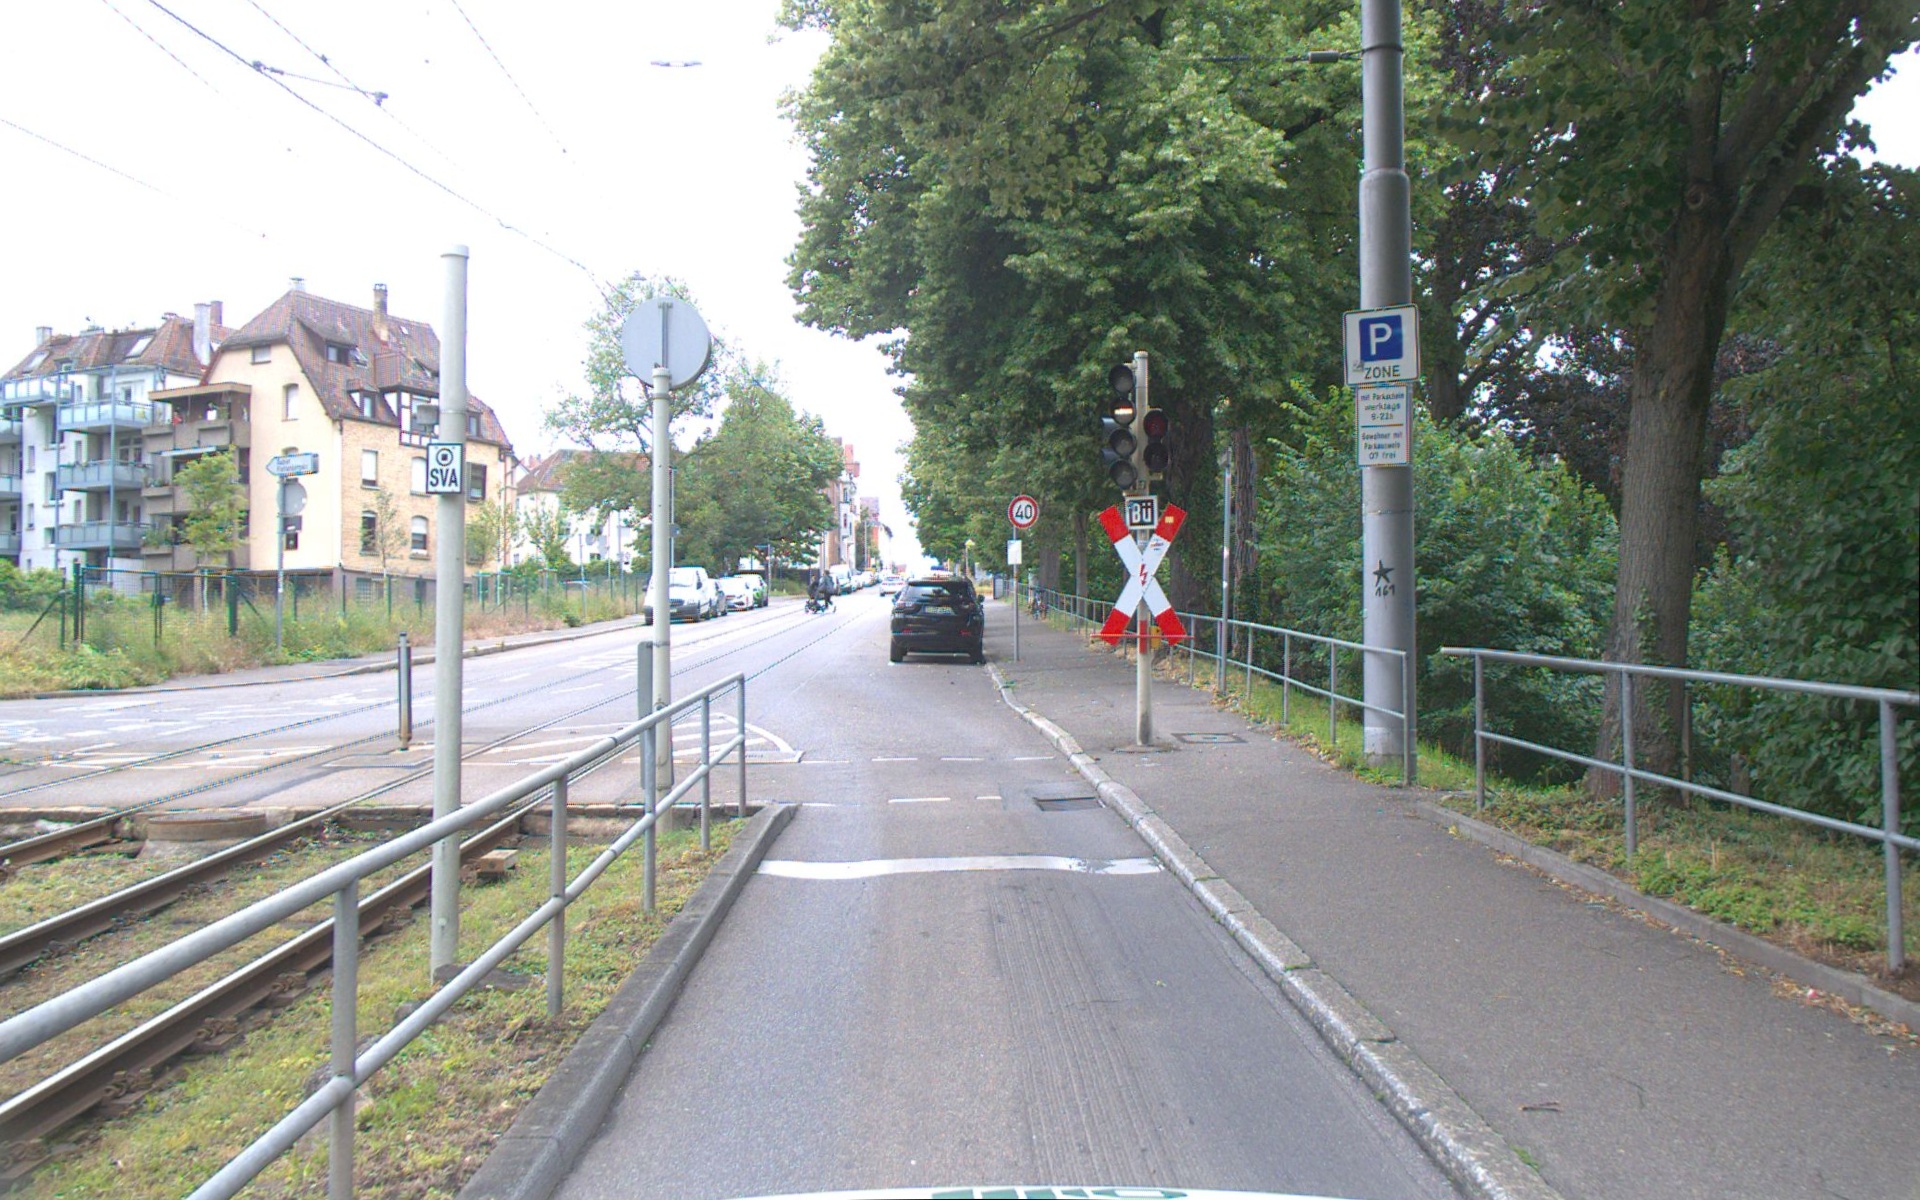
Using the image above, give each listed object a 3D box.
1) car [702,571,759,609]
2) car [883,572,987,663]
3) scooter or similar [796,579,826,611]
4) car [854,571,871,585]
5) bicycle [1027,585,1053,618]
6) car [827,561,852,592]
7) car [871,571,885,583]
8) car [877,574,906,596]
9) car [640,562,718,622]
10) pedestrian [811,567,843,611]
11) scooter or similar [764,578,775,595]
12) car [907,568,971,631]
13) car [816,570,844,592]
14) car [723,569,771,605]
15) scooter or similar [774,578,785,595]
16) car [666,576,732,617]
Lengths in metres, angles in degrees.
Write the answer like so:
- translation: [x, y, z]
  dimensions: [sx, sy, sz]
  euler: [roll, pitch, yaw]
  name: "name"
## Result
- translation: [-10.007, -0.436, 72.371]
  dimensions: [1.846, 1.552, 4.663]
  euler: [-2, 1, -1]
  name: "car"
- translation: [-0.430, 0.279, 32.501]
  dimensions: [1.865, 1.643, 4.600]
  euler: [1, 1, 0]
  name: "car"
- translation: [-5.740, -0.181, 63.757]
  dimensions: [0.822, 1.217, 0.804]
  euler: [0, 0, 36]
  name: "scooter or similar"
- translation: [-11.588, -2.623, 196.926]
  dimensions: [1.885, 1.629, 4.000]
  euler: [0, 0, 0]
  name: "car"
- translation: [2.477, 0.037, 51.593]
  dimensions: [0.419, 0.993, 1.790]
  euler: [0, 0, -10]
  name: "bicycle"
- translation: [-11.127, -2.160, 153.098]
  dimensions: [2.186, 2.812, 5.796]
  euler: [0, 0, -3]
  name: "car"
- translation: [-11.709, -3.300, 236.450]
  dimensions: [1.953, 1.629, 3.999]
  euler: [0, 0, -1]
  name: "car"
- translation: [-4.773, -1.062, 116.102]
  dimensions: [1.953, 1.525, 4.311]
  euler: [0, 0, -1]
  name: "car"
- translation: [-9.847, -0.293, 58.314]
  dimensions: [1.995, 1.914, 4.883]
  euler: [-3, 0, -2]
  name: "car"
- translation: [-5.086, -0.426, 63.234]
  dimensions: [0.898, 1.657, 0.804]
  euler: [0, 0, 36]
  name: "pedestrian"
- translation: [-15.343, -1.105, 133.412]
  dimensions: [0.676, 1.362, 1.639]
  euler: [0, 0, 0]
  name: "scooter or similar"
- translation: [-0.656, -0.049, 48.303]
  dimensions: [1.692, 1.659, 4.087]
  euler: [3, 1, -2]
  name: "car"
- translation: [-10.878, -1.602, 138.613]
  dimensions: [1.952, 1.840, 4.000]
  euler: [0, 0, 1]
  name: "car"
- translation: [-10.021, -0.612, 77.955]
  dimensions: [1.688, 1.607, 4.180]
  euler: [-1, 1, 0]
  name: "car"
- translation: [-14.570, -1.108, 133.472]
  dimensions: [0.676, 1.362, 1.639]
  euler: [0, 0, 0]
  name: "scooter or similar"
- translation: [-10.001, -0.167, 63.653]
  dimensions: [1.858, 1.457, 4.511]
  euler: [-2, 1, -1]
  name: "car"
